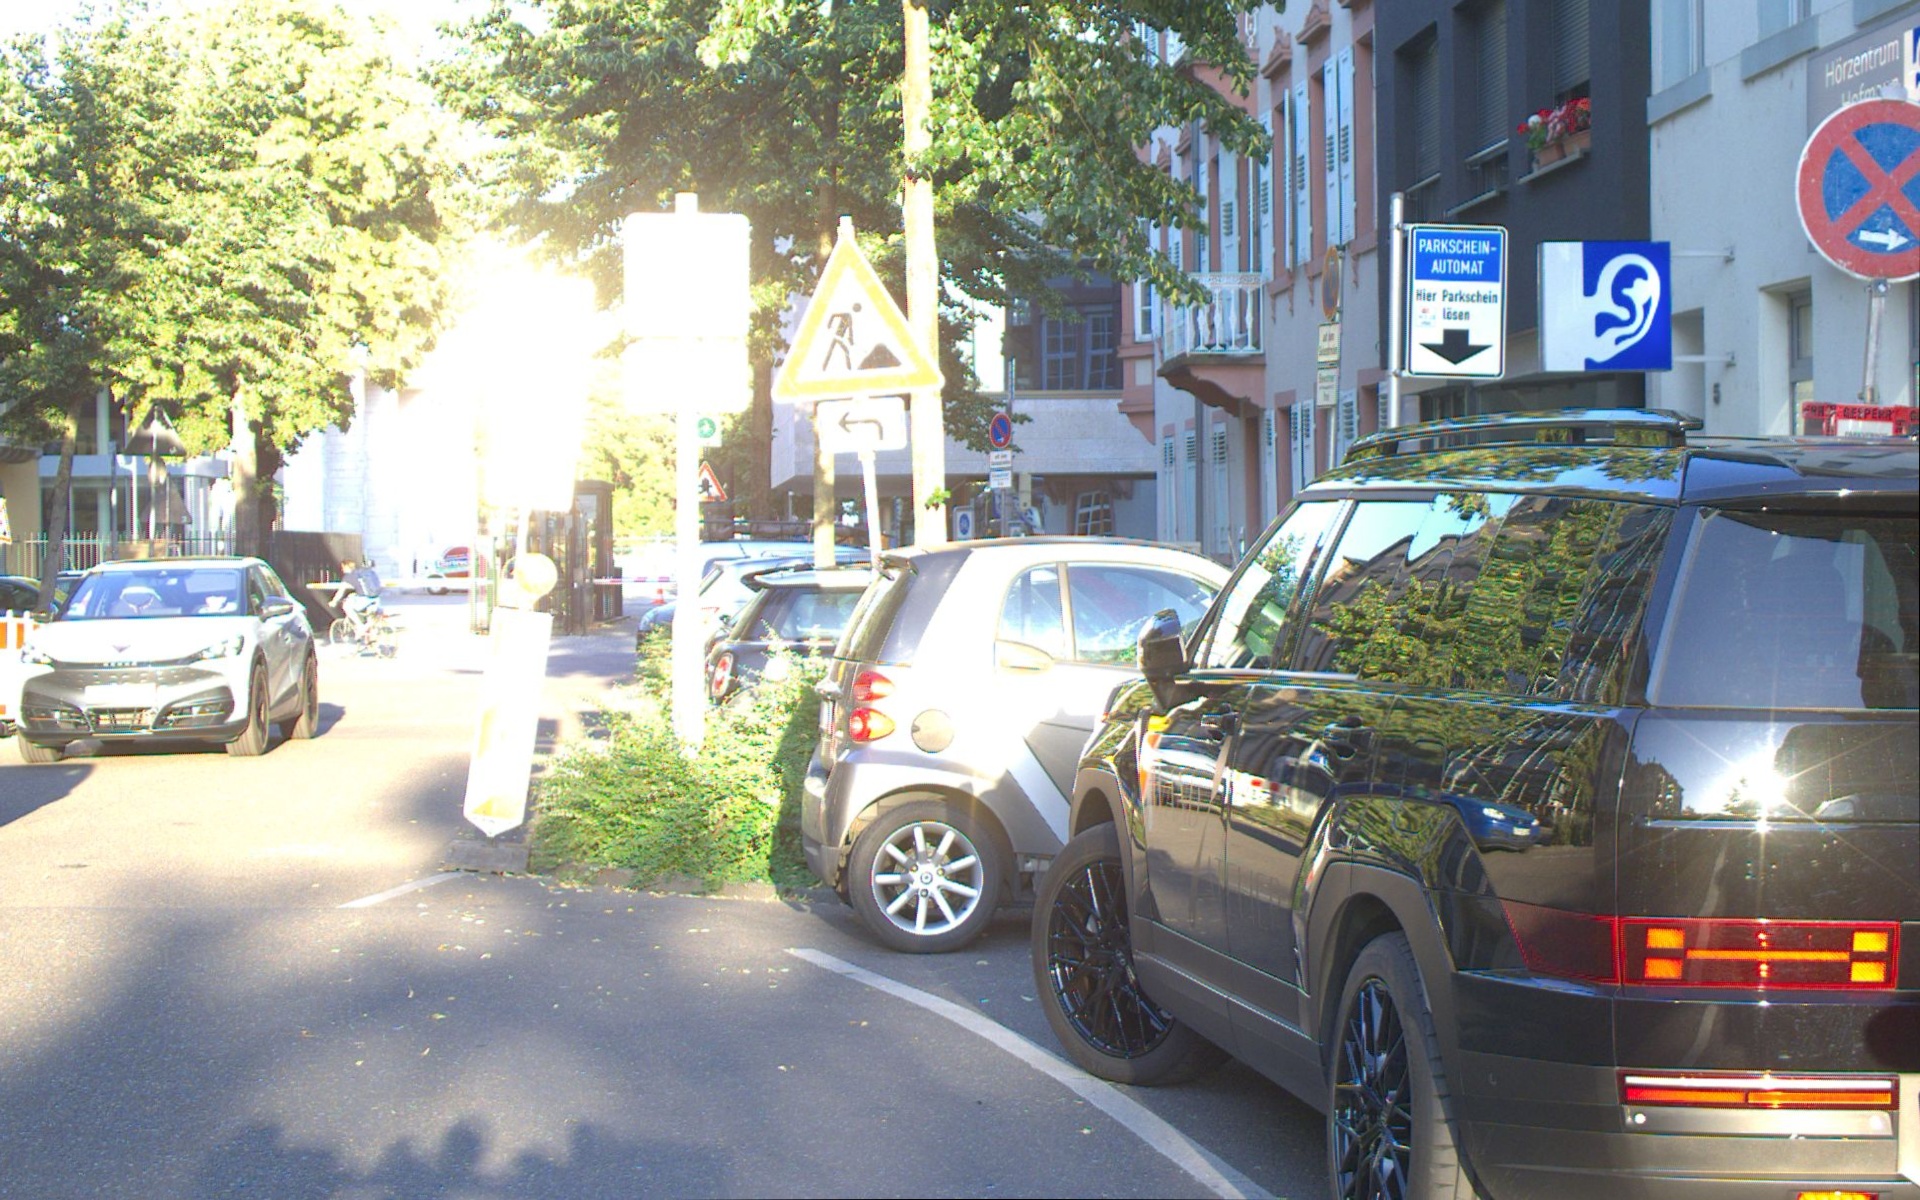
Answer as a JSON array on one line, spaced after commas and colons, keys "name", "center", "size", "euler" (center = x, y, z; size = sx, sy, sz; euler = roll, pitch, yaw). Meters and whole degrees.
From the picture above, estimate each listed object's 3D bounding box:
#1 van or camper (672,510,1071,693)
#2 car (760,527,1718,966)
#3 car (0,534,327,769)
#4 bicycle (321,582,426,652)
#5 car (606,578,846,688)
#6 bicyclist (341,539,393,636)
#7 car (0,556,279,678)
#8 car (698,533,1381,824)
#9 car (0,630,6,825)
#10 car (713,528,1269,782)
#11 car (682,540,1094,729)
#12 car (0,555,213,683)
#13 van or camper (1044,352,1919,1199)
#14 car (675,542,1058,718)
[{"name": "van or camper", "center": [-1.058, 0.009, 39.453], "size": [4.439, 1.999, 1.859], "euler": [1, 1, -5]}, {"name": "car", "center": [1.047, 0.513, 13.549], "size": [3.469, 1.570, 1.508], "euler": [-1, 1, -12]}, {"name": "car", "center": [-6.446, 0.356, 28.190], "size": [1.873, 1.692, 4.322], "euler": [-3, 1, -3]}, {"name": "bicycle", "center": [-9.767, 0.268, 57.184], "size": [0.514, 1.129, 2.278], "euler": [-1, 1, -45]}, {"name": "car", "center": [-3.489, 0.472, 51.762], "size": [1.855, 1.563, 3.691], "euler": [1, 1, 30]}, {"name": "bicyclist", "center": [-9.882, -0.214, 57.271], "size": [0.498, 1.600, 0.763], "euler": [-1, 1, -45]}, {"name": "car", "center": [-11.878, 0.223, 48.977], "size": [3.987, 1.678, 1.891], "euler": [0, 1, -1]}, {"name": "car", "center": [0.416, 0.458, 21.183], "size": [3.994, 1.664, 1.859], "euler": [1, 1, -5]}, {"name": "car", "center": [-6.066, 0.505, 16.824], "size": [1.688, 1.558, 4.119], "euler": [-2, 1, -1]}, {"name": "car", "center": [0.157, 0.362, 24.017], "size": [3.684, 1.664, 1.859], "euler": [1, 1, -5]}, {"name": "car", "center": [-0.715, 0.305, 31.995], "size": [3.684, 1.664, 1.859], "euler": [1, 1, -5]}, {"name": "car", "center": [-12.243, 0.246, 46.275], "size": [3.987, 1.678, 1.891], "euler": [0, 1, -1]}, {"name": "van or camper", "center": [1.518, 0.470, 7.829], "size": [1.889, 1.801, 4.462], "euler": [0, 1, -9]}, {"name": "car", "center": [-0.980, 0.280, 34.331], "size": [3.684, 1.664, 1.859], "euler": [1, 1, -5]}]
